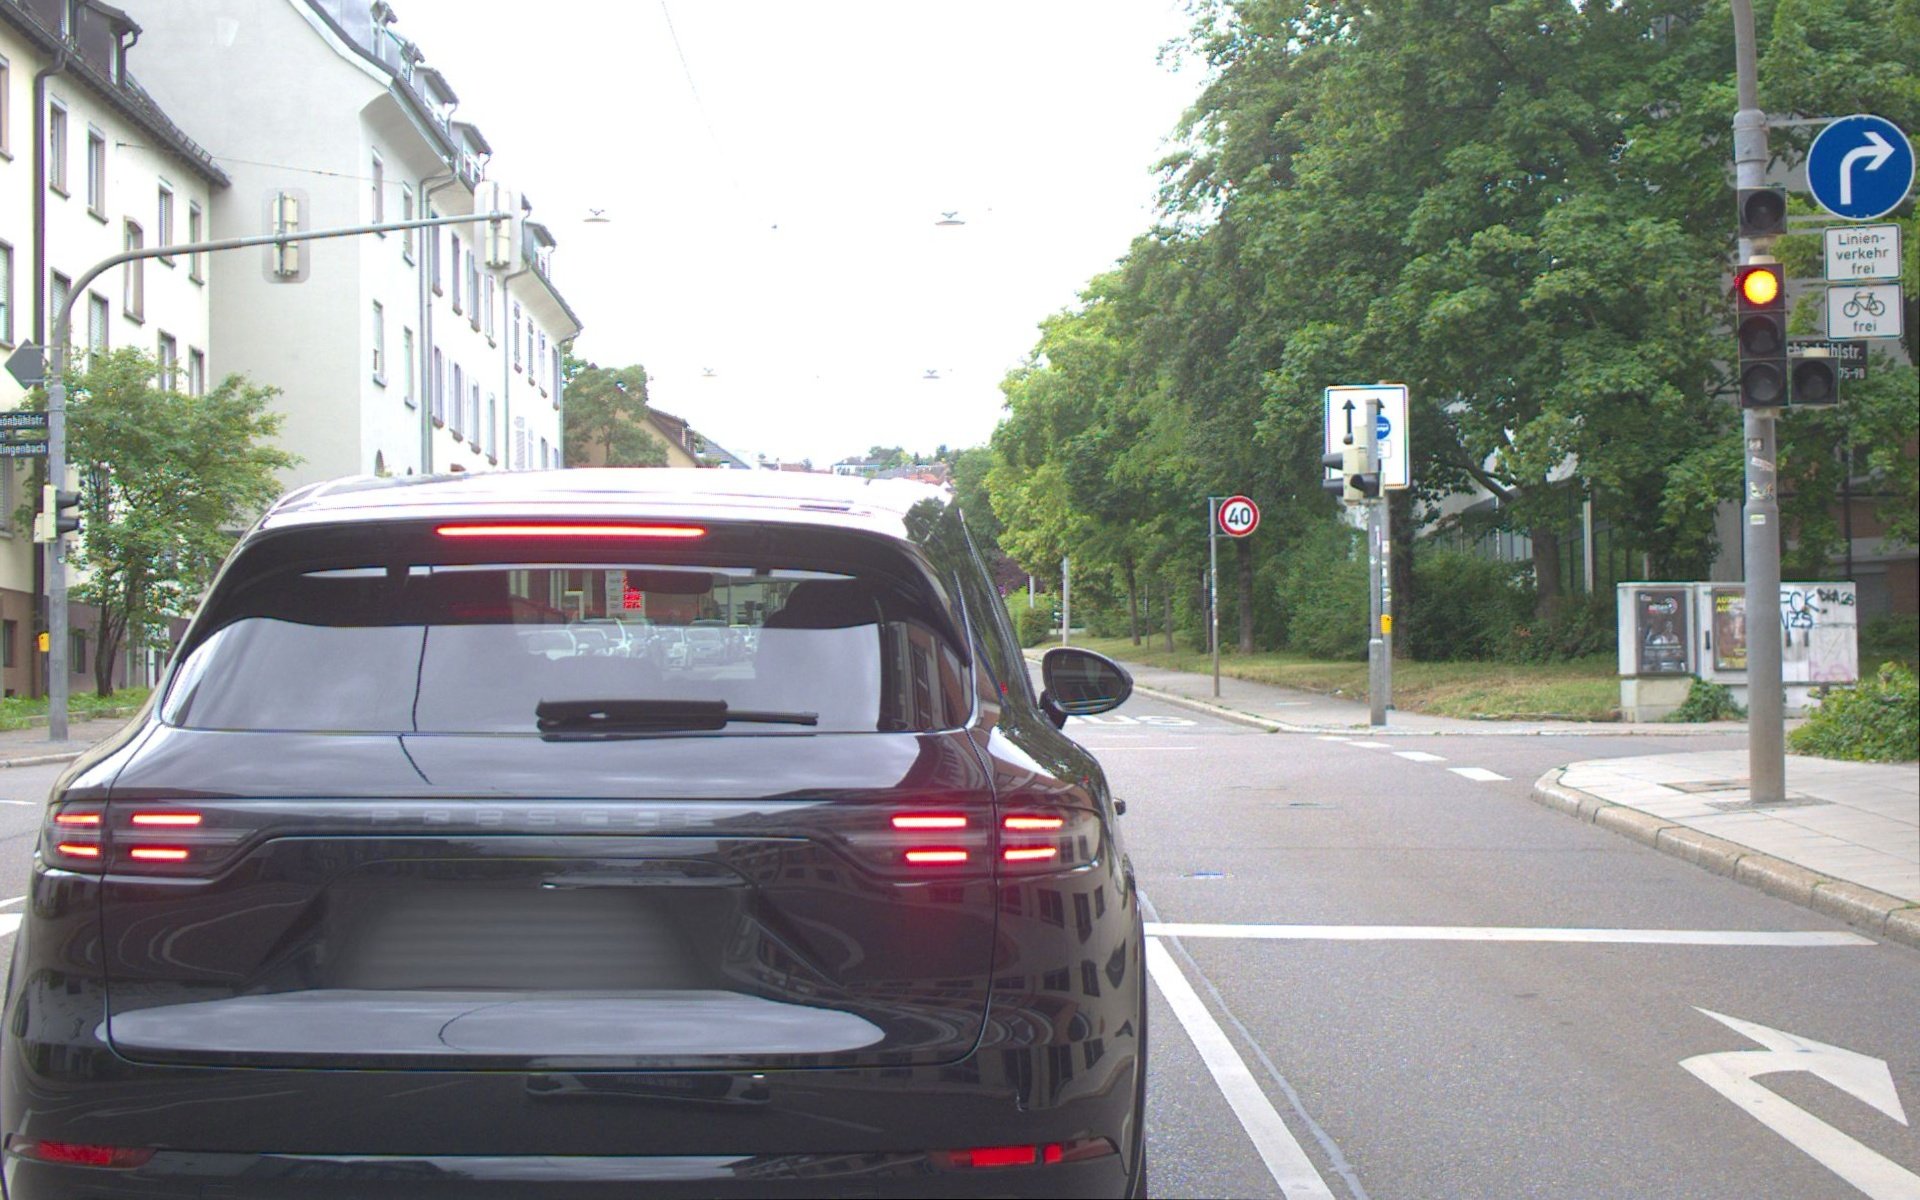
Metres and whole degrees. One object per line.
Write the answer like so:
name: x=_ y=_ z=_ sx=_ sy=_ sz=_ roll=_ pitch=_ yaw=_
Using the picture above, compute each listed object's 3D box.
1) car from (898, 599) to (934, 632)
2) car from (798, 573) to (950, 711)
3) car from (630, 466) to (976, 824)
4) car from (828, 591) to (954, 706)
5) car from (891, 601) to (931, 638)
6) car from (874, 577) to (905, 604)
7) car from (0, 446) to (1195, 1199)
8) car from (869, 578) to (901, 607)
car: x=-2.334 y=0.808 z=182.489 sx=1.827 sy=1.599 sz=4.135 roll=1 pitch=1 yaw=0
car: x=-1.059 y=0.492 z=43.825 sx=1.827 sy=1.599 sz=4.135 roll=1 pitch=1 yaw=0
car: x=-0.917 y=0.223 z=21.900 sx=1.965 sy=2.035 sz=4.135 roll=1 pitch=1 yaw=0
car: x=-1.031 y=0.713 z=52.543 sx=1.827 sy=1.599 sz=3.859 roll=1 pitch=1 yaw=0
car: x=-2.332 y=0.923 z=163.313 sx=1.827 sy=1.599 sz=4.135 roll=1 pitch=1 yaw=0
car: x=-4.323 y=-0.594 z=210.275 sx=1.827 sy=1.599 sz=4.135 roll=1 pitch=1 yaw=0
car: x=-0.700 y=0.576 z=7.253 sx=2.048 sy=1.660 sz=4.267 roll=1 pitch=1 yaw=0
car: x=-4.424 y=-0.439 z=202.949 sx=1.827 sy=1.599 sz=4.135 roll=1 pitch=1 yaw=0
